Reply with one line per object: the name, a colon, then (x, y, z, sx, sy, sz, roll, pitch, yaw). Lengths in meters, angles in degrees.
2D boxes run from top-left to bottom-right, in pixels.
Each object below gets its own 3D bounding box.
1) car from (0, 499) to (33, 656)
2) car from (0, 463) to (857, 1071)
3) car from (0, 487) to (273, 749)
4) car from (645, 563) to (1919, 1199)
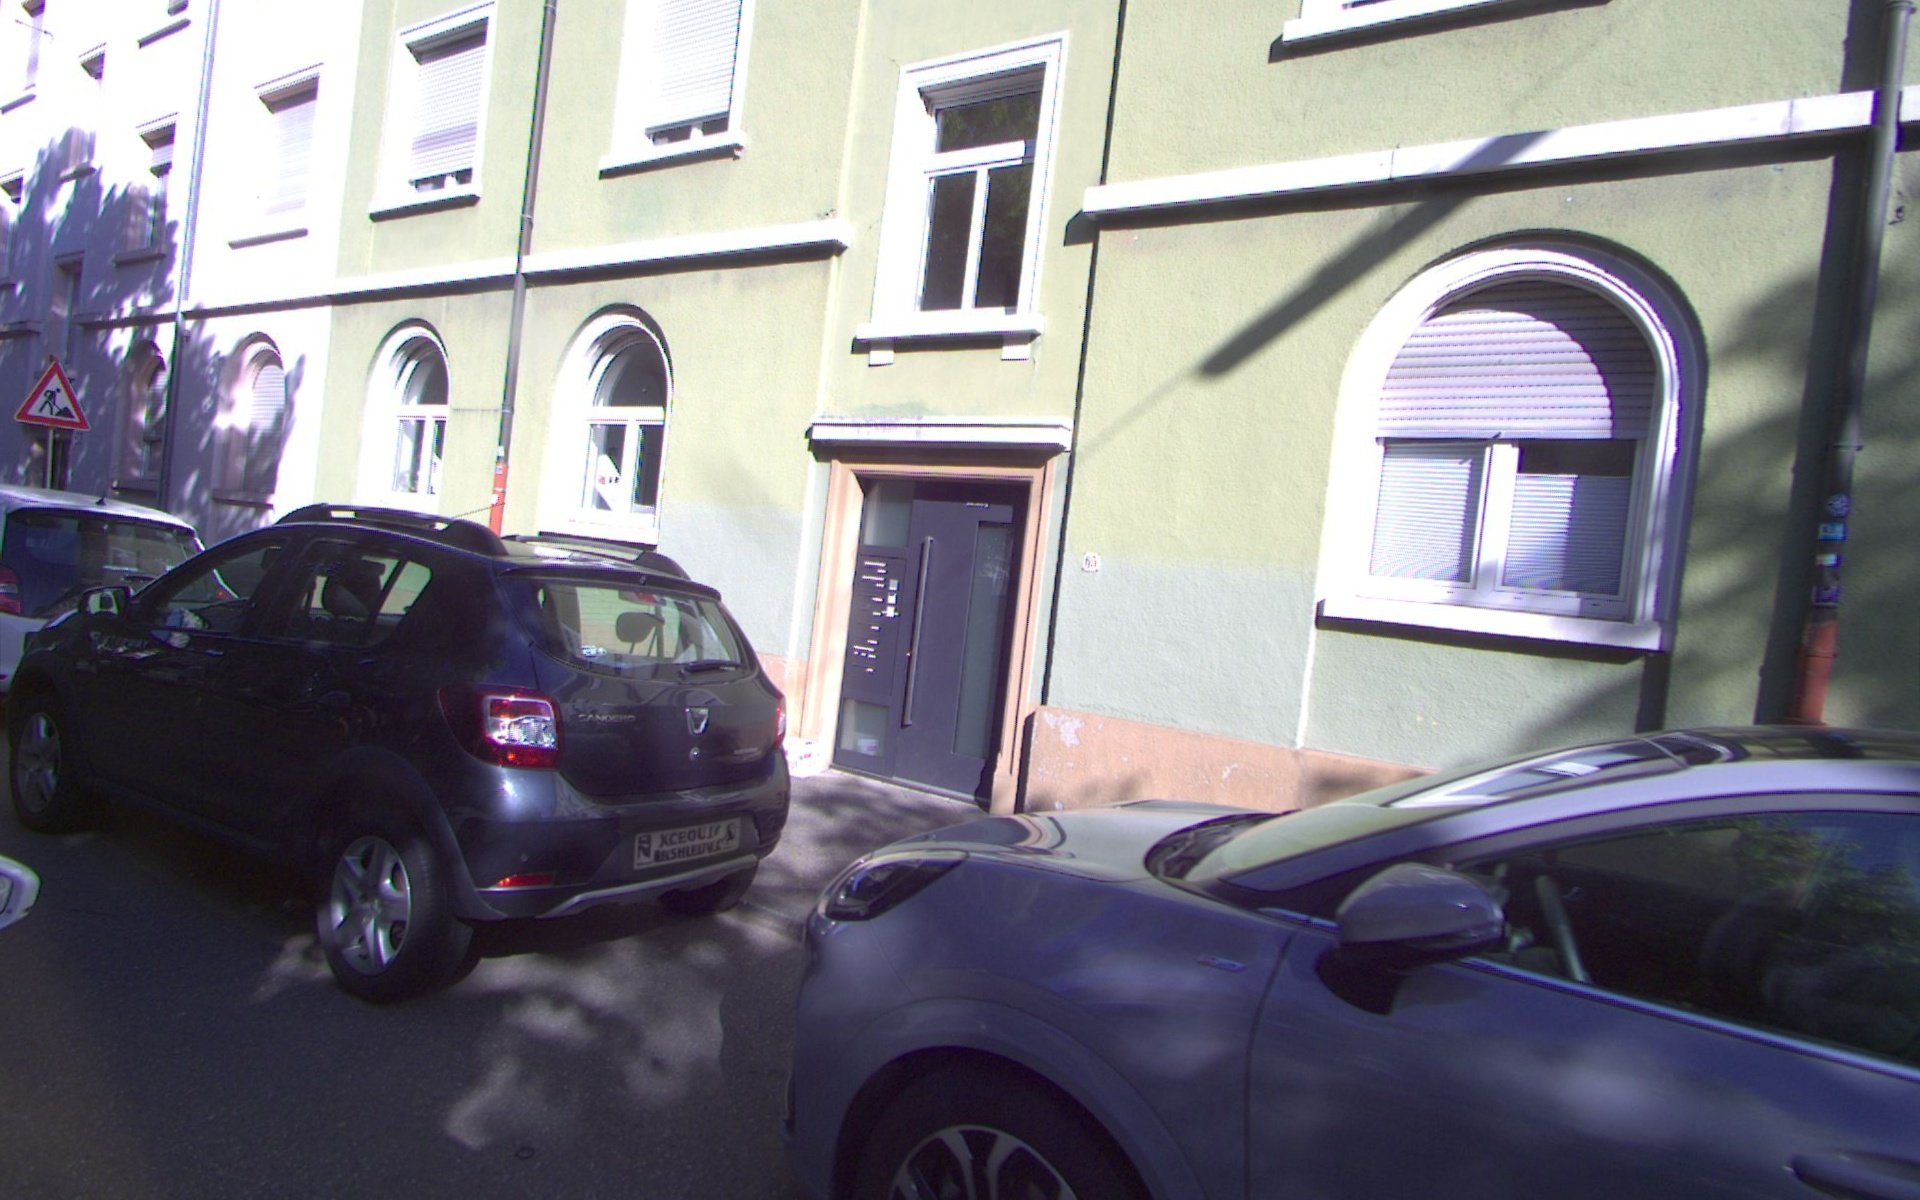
car: (-10.829, -0.456, 9.664, 4.019, 1.430, 1.633, 7, 0, 30)
car: (-2.728, 0.401, 4.640, 4.086, 1.616, 1.726, 7, 0, 28)
car: (-6.914, -0.028, 7.376, 3.532, 1.553, 1.633, 7, 0, 30)
car: (1.555, 0.963, 1.961, 4.087, 1.547, 1.725, 7, 0, 29)
